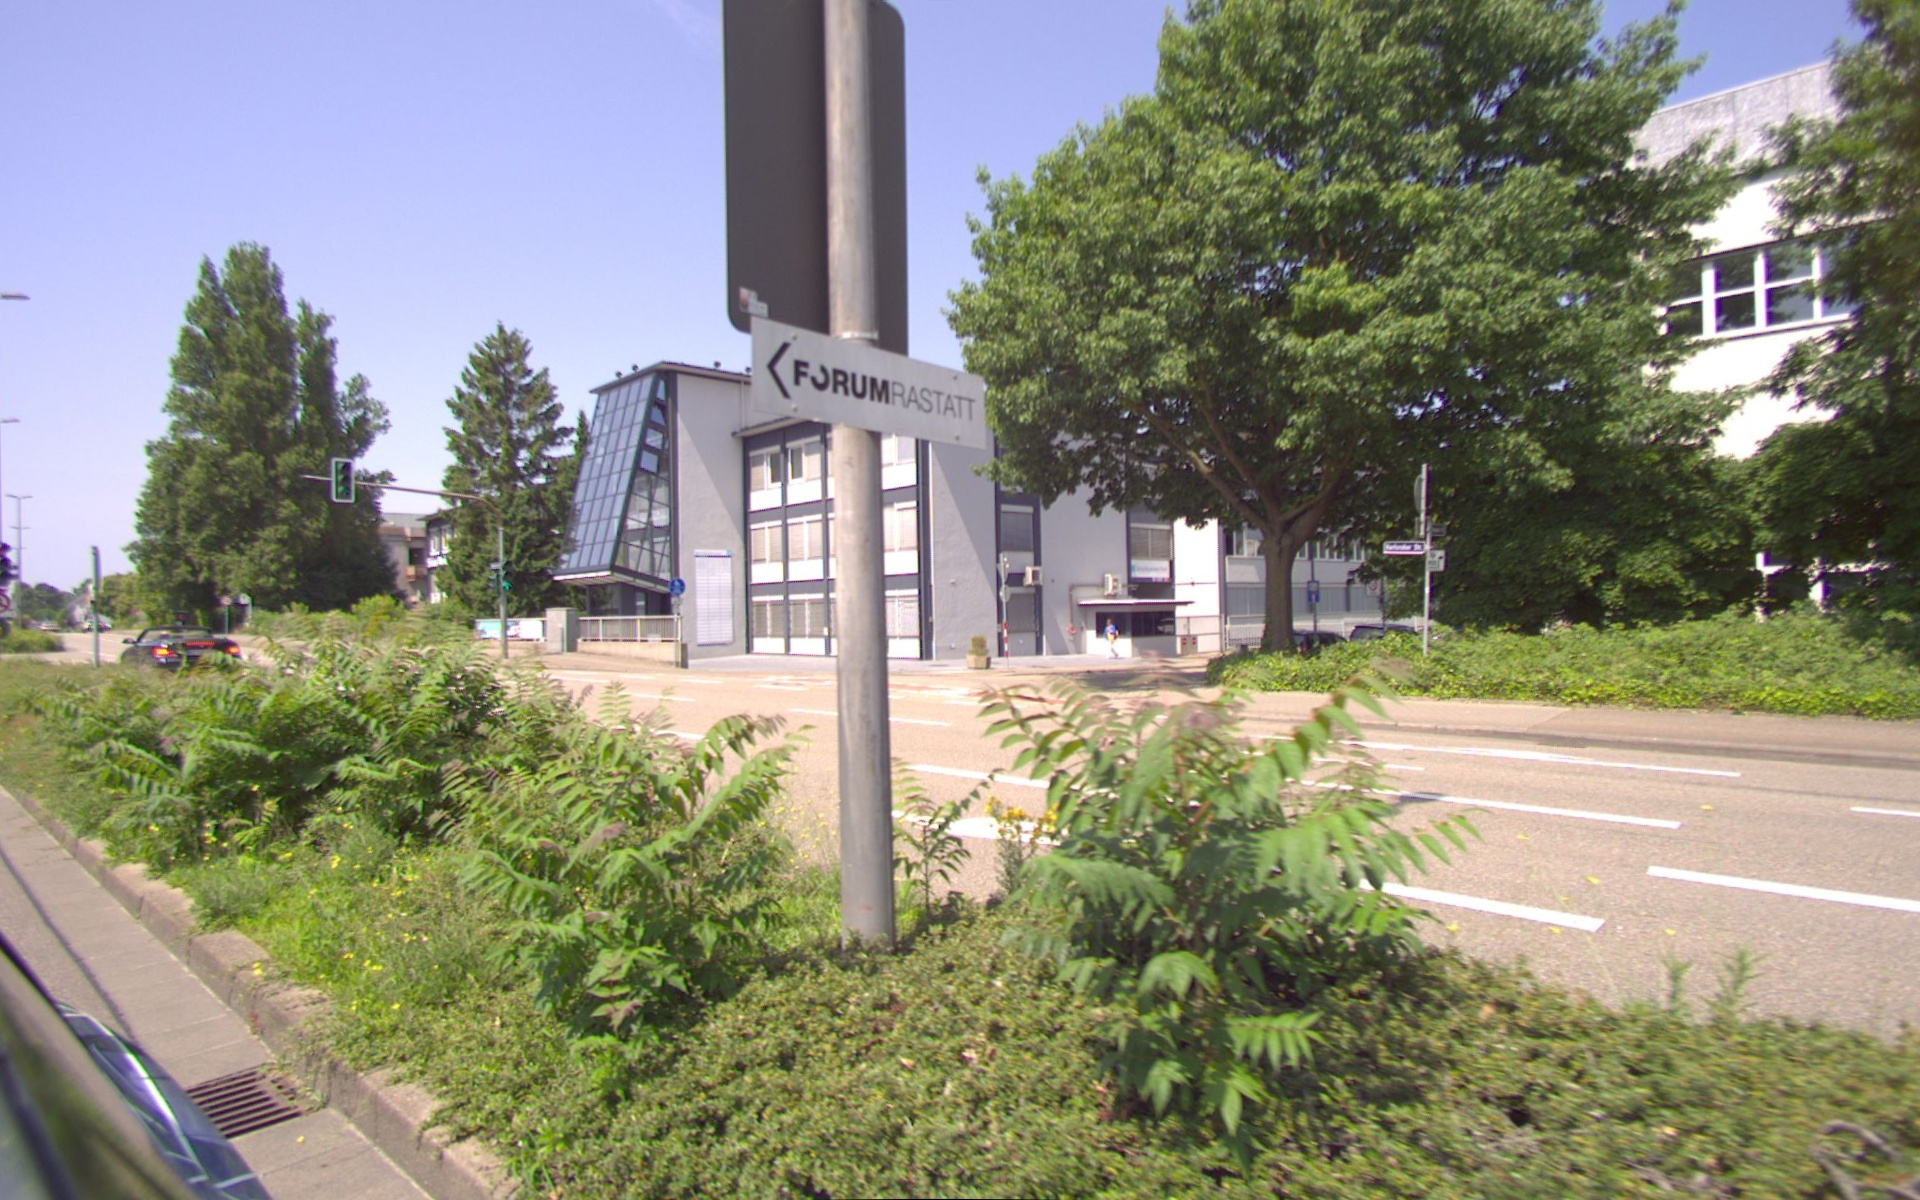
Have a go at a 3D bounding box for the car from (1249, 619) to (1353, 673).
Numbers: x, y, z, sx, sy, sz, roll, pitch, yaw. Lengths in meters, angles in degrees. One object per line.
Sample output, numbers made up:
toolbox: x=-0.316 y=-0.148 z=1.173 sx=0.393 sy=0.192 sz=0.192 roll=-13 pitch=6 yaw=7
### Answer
car: x=11.969 y=1.563 z=35.375 sx=1.920 sy=1.607 sz=3.942 roll=-1 pitch=1 yaw=44

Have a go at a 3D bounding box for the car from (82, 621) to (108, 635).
car: x=-101.708 y=3.274 z=118.955 sx=4.288 sy=1.572 sz=1.873 roll=-1 pitch=-2 yaw=44

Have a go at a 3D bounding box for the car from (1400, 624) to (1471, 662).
car: x=20.313 y=1.793 z=43.181 sx=1.716 sy=1.542 sz=3.610 roll=-1 pitch=-2 yaw=43

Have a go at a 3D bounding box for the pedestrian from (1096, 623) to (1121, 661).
pedestrian: x=6.365 y=1.793 z=43.311 sx=0.858 sy=1.637 sz=0.677 roll=-1 pitch=-2 yaw=35

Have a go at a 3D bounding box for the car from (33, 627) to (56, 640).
car: x=-110.791 y=4.005 z=122.458 sx=4.092 sy=1.429 sz=1.740 roll=-1 pitch=-1 yaw=44

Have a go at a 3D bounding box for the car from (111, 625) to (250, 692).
car: x=-17.551 y=1.247 z=22.718 sx=4.148 sy=1.334 sz=1.711 roll=-1 pitch=-2 yaw=42

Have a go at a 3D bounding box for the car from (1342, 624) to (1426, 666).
car: x=16.462 y=1.701 z=39.230 sx=1.716 sy=1.541 sz=3.942 roll=-1 pitch=-2 yaw=43
